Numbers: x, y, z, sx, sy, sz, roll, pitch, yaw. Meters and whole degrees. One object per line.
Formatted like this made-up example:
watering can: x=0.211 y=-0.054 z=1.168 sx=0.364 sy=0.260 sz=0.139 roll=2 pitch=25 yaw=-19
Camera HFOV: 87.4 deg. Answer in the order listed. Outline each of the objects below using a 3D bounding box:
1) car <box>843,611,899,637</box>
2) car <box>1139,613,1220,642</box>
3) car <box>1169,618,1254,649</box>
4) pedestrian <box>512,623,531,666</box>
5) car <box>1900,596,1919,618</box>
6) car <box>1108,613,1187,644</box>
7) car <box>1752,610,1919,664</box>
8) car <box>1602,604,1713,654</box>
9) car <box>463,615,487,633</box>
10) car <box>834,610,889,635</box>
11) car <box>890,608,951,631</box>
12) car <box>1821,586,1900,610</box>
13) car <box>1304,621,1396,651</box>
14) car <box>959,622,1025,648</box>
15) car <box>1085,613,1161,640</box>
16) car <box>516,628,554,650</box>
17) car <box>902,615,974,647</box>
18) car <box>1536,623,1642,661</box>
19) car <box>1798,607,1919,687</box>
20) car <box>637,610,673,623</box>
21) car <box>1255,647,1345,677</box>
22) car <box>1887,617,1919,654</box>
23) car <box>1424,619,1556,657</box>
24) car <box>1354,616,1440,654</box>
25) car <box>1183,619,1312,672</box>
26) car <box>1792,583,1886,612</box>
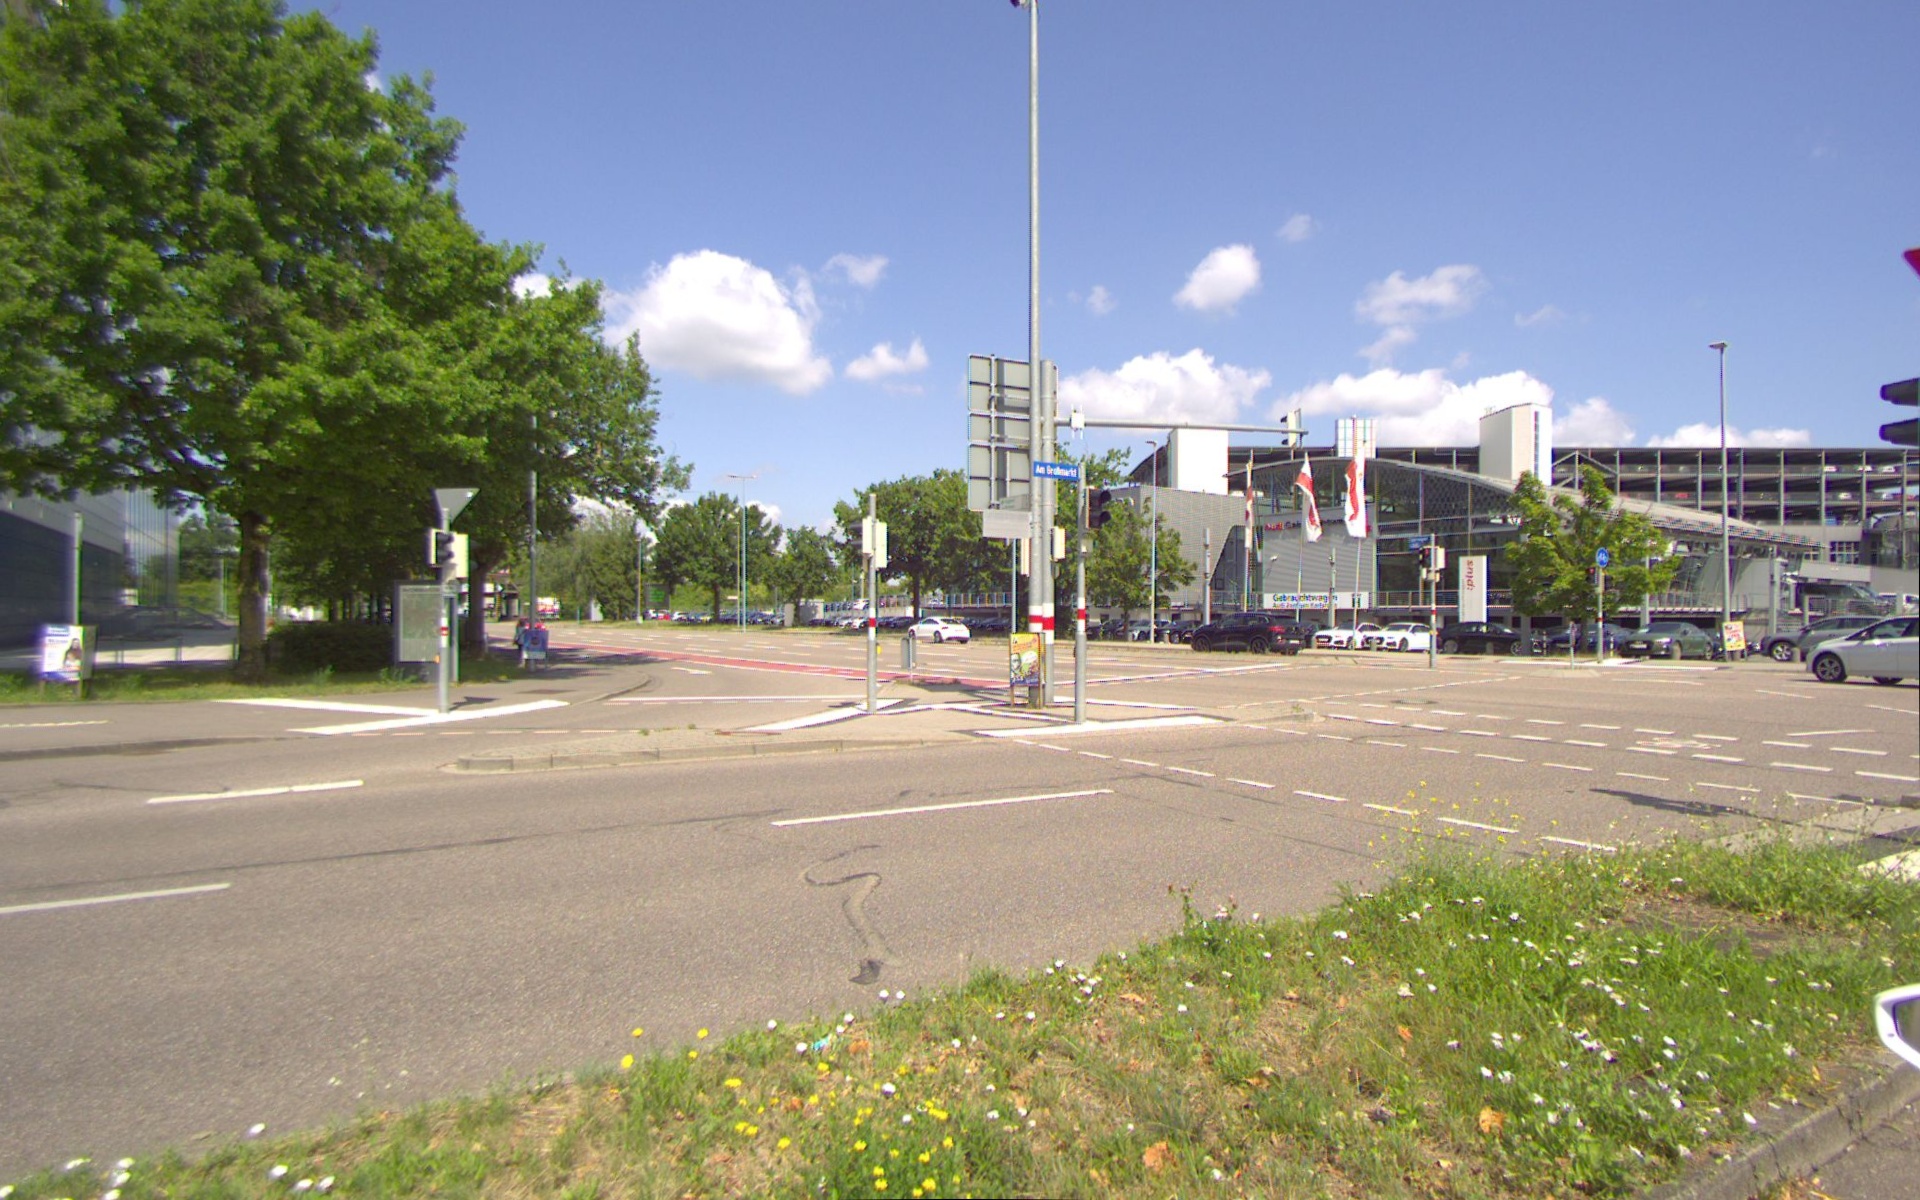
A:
car: x=-7.758 y=2.099 z=87.780 sx=4.544 sy=2.076 sz=1.888 roll=2 pitch=0 yaw=-35
car: x=12.407 y=1.559 z=56.723 sx=4.545 sy=1.402 sz=1.888 roll=4 pitch=-1 yaw=-35
car: x=13.685 y=1.820 z=54.570 sx=4.546 sy=1.314 sz=1.888 roll=6 pitch=-2 yaw=-35
pedestrian: x=-16.169 y=1.635 z=37.048 sx=0.499 sy=1.576 sz=0.753 roll=0 pitch=-1 yaw=-35
car: x=69.965 y=0.538 z=71.733 sx=1.752 sy=1.572 sz=3.951 roll=2 pitch=0 yaw=-41
car: x=10.997 y=1.677 z=58.874 sx=4.546 sy=1.423 sz=1.888 roll=5 pitch=-2 yaw=-35
car: x=31.732 y=1.309 z=36.276 sx=1.887 sy=1.700 sz=4.548 roll=2 pitch=0 yaw=-33
car: x=25.696 y=1.068 z=36.958 sx=4.544 sy=1.700 sz=1.888 roll=2 pitch=0 yaw=-35
car: x=-45.800 y=2.254 z=94.818 sx=1.873 sy=1.576 sz=4.553 roll=1 pitch=-1 yaw=-28
car: x=-8.808 y=2.030 z=89.741 sx=4.544 sy=2.076 sz=1.888 roll=2 pitch=0 yaw=-35
car: x=-3.175 y=1.546 z=81.025 sx=4.544 sy=1.700 sz=1.888 roll=2 pitch=0 yaw=-35
car: x=62.639 y=-0.137 z=69.907 sx=1.752 sy=1.572 sz=3.951 roll=2 pitch=0 yaw=-41
car: x=18.626 y=1.738 z=47.884 sx=4.544 sy=1.315 sz=1.888 roll=2 pitch=0 yaw=-35
car: x=2.316 y=2.541 z=72.520 sx=4.544 sy=1.700 sz=1.888 roll=2 pitch=0 yaw=-35
car: x=9.911 y=1.629 z=61.024 sx=4.545 sy=1.423 sz=1.888 roll=3 pitch=-1 yaw=-35
car: x=-34.422 y=3.135 z=81.304 sx=1.831 sy=1.623 sz=4.518 roll=1 pitch=0 yaw=-36
car: x=-1.176 y=1.580 z=52.006 sx=1.842 sy=1.461 sz=3.962 roll=2 pitch=0 yaw=-34
car: x=24.602 y=1.634 z=39.240 sx=4.544 sy=1.315 sz=1.888 roll=2 pitch=0 yaw=-35
car: x=20.946 y=1.024 z=21.856 sx=1.745 sy=1.639 sz=3.995 roll=2 pitch=0 yaw=-8
car: x=-41.511 y=2.260 z=136.640 sx=4.328 sy=1.533 sz=1.916 roll=2 pitch=0 yaw=-36
car: x=16.948 y=3.064 z=50.006 sx=4.544 sy=1.315 sz=1.888 roll=2 pitch=0 yaw=-35
car: x=47.193 y=1.756 z=47.521 sx=1.887 sy=1.700 sz=4.548 roll=2 pitch=0 yaw=-33
car: x=22.578 y=1.598 z=42.966 sx=1.779 sy=1.483 sz=4.709 roll=5 pitch=-3 yaw=-35
car: x=19.818 y=1.590 z=45.480 sx=3.961 sy=1.483 sz=1.778 roll=5 pitch=-3 yaw=-35
car: x=10.253 y=1.576 z=36.024 sx=1.761 sy=1.639 sz=4.222 roll=2 pitch=0 yaw=-37
car: x=58.502 y=-0.183 z=66.949 sx=1.748 sy=1.825 sz=4.411 roll=2 pitch=0 yaw=-35
